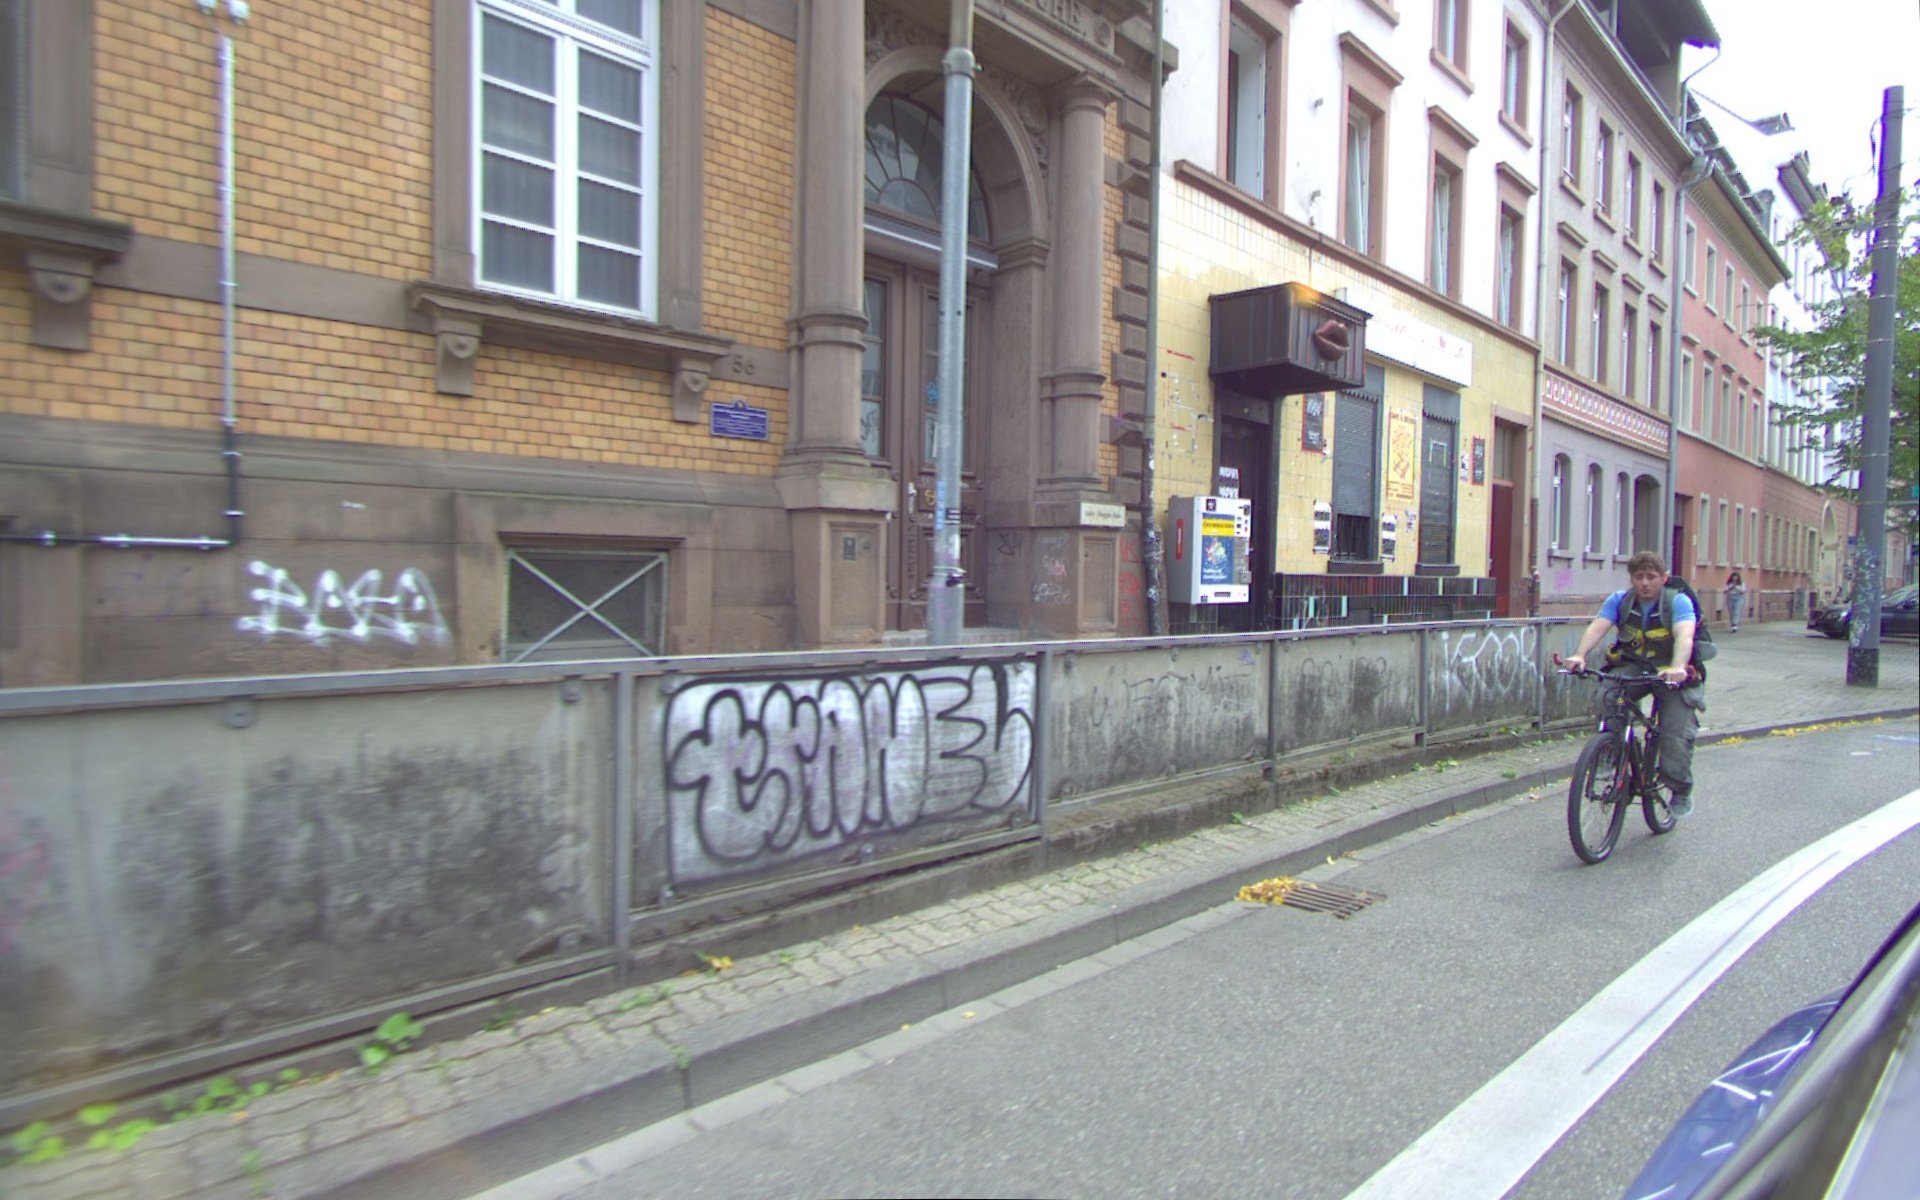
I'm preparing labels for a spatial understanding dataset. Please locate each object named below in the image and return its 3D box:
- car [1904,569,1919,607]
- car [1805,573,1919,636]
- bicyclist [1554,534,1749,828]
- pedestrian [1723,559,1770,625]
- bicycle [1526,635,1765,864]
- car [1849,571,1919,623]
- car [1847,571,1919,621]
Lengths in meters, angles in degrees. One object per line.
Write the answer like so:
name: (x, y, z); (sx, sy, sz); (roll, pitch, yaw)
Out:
car: (46.069, -0.444, 45.672); (4.582, 1.719, 1.900); (3, 3, 26)
car: (24.823, 0.161, 25.847); (4.582, 1.491, 1.774); (3, 3, 26)
bicyclist: (3.988, 0.417, 5.830); (0.902, 1.526, 0.715); (0, 0, -41)
pedestrian: (21.591, -0.230, 27.793); (0.910, 1.708, 0.732); (0, 6, -42)
bicycle: (3.976, 0.765, 5.817); (1.769, 1.031, 0.714); (-1, 1, -41)
car: (30.012, -0.042, 30.592); (4.302, 1.498, 1.774); (3, 3, 26)
car: (34.574, -0.100, 35.943); (4.197, 1.719, 1.725); (3, 3, 26)
